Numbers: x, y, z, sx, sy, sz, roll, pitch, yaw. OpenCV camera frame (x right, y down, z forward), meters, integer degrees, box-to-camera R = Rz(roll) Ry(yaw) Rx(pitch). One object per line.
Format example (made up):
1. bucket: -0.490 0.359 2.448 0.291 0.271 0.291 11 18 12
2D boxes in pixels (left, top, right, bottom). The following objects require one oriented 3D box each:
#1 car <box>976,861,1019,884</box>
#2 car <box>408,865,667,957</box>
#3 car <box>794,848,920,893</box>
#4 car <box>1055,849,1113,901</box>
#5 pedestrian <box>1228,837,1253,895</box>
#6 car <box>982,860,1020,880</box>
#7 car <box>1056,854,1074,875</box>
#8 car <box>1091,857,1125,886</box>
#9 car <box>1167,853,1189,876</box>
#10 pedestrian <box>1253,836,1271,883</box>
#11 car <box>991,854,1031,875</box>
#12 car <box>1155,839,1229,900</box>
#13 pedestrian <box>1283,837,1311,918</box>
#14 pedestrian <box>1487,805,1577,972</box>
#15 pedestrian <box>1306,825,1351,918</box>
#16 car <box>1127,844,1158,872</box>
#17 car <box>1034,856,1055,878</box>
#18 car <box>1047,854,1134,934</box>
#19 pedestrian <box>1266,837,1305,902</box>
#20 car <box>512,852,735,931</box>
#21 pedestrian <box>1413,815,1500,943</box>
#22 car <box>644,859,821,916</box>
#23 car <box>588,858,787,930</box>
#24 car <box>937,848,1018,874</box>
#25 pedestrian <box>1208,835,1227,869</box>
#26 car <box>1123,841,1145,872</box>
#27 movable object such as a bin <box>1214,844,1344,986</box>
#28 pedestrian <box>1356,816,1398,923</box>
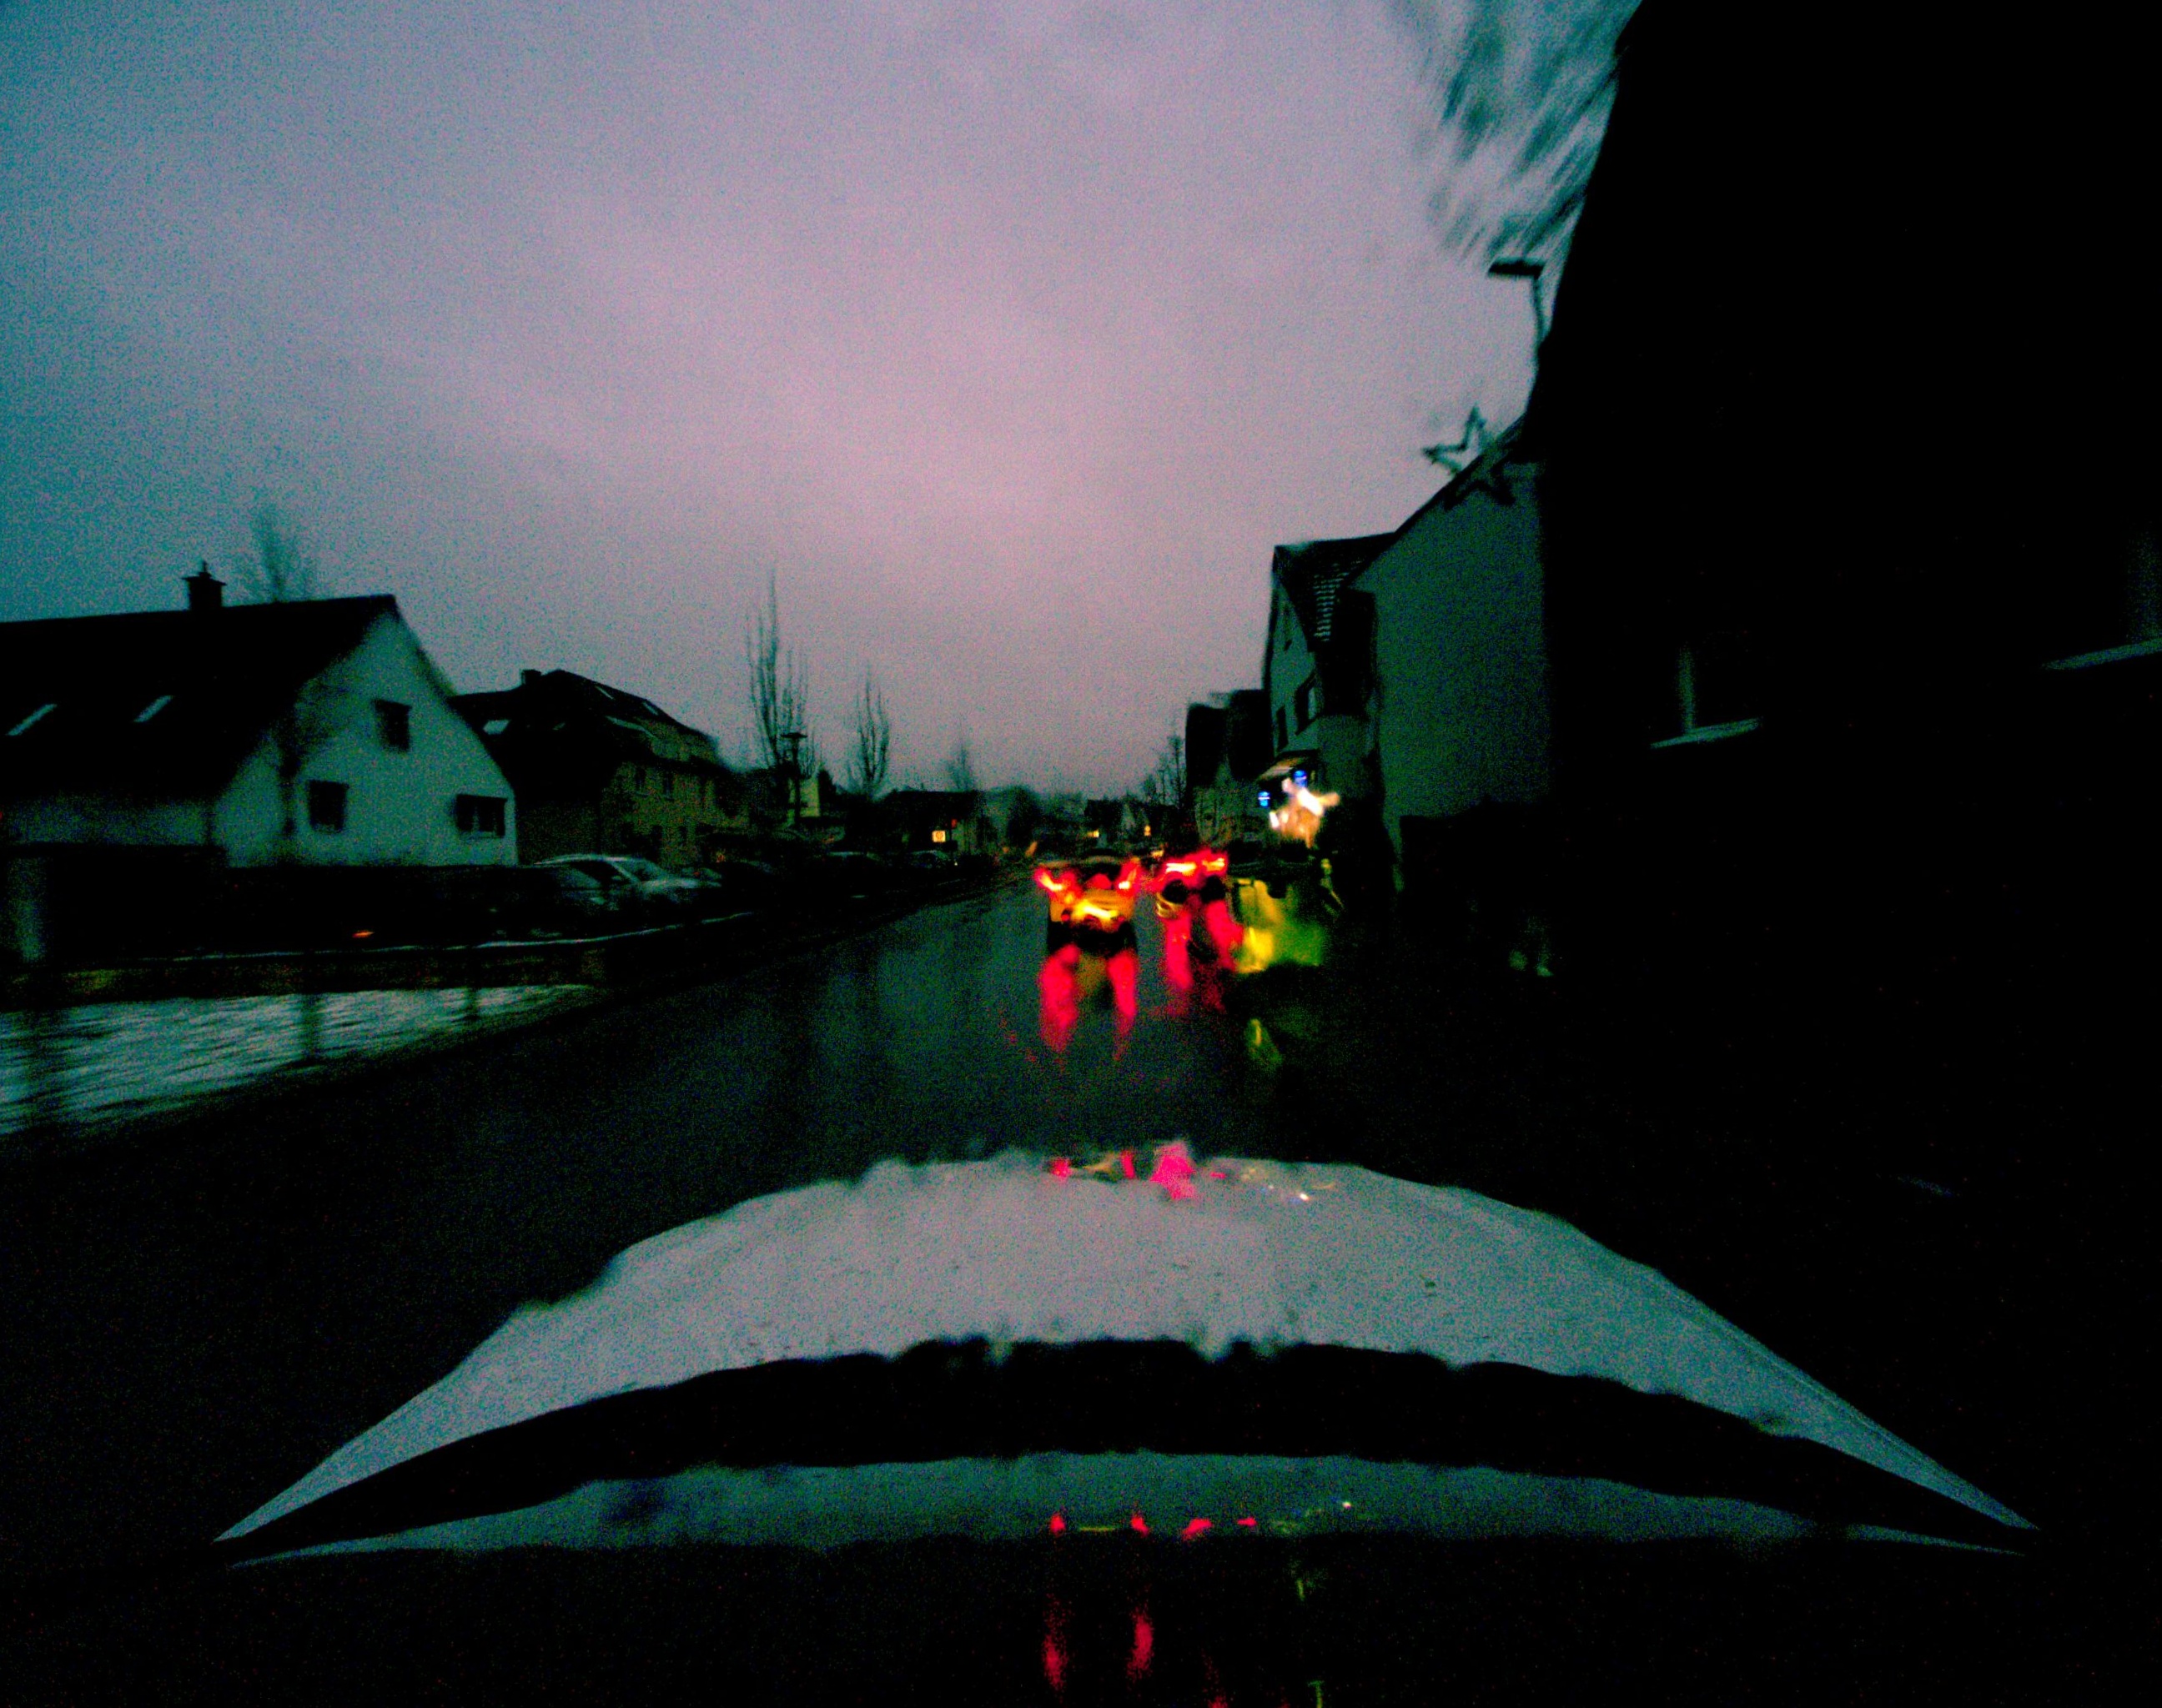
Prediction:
1. car: -8.437 1.922 82.004 2.011 2.252 4.331 2 -3 -45
2. car: -9.489 0.967 14.406 3.433 1.372 1.601 -2 0 0
3. car: -9.120 0.667 33.475 4.612 1.667 1.999 -1 -1 -1
4. car: 0.173 0.663 27.808 1.759 1.628 3.589 -1 0 3
5. pedestrian: 4.878 0.365 24.907 0.571 1.699 0.653 -4 -1 3
6. car: -8.362 1.661 84.889 1.833 1.976 4.117 2 -3 -45
7. car: -1.695 1.189 88.572 1.914 2.216 3.973 0 -2 0
8. car: 1.294 0.820 39.318 1.535 1.331 3.312 -1 0 1
9. car: 9.762 1.072 82.428 1.985 2.249 4.002 -1 -2 3
10. pedestrian: 6.860 0.214 30.803 0.614 1.727 0.503 -1 -3 13
11. car: -7.594 1.169 87.619 2.011 2.167 4.331 2 -3 -45
12. car: 3.398 0.463 25.704 1.729 1.692 4.386 -2 0 1
13. pedestrian: 4.567 0.474 17.209 0.476 1.630 1.023 -3 0 15
14. pedestrian: 4.724 0.358 8.591 0.525 1.653 0.956 -1 -3 11
15. pedestrian: 4.788 0.322 15.789 0.707 1.715 1.038 -3 0 15
16. car: 4.321 0.306 57.571 1.990 1.865 4.084 -1 -1 2
17. car: -3.594 1.300 80.621 1.914 2.028 3.973 0 -2 0
18. car: 0.209 0.723 16.157 1.557 1.412 3.018 -1 0 1
19. pedestrian: 5.329 0.388 21.255 0.618 1.626 0.903 -2 1 -12
20. car: -9.537 0.772 17.114 3.772 1.523 1.718 -1 -1 8
21. pedestrian: 5.241 0.330 11.424 0.743 1.678 1.054 -3 0 7
22. car: -9.664 0.941 22.793 4.109 1.498 1.881 -1 -2 3
23. car: -9.509 0.955 19.829 4.074 1.608 1.589 -1 -1 4
24. car: -7.210 0.476 56.840 5.357 1.817 1.718 0 0 14
25. pedestrian: 6.270 -0.108 37.534 0.618 1.515 0.731 -2 1 -12
26. car: 4.537 0.263 70.070 1.862 2.469 4.446 -1 -2 3
27. movable object such as a bin: 2.229 0.648 9.411 1.124 1.420 1.419 -5 0 3
28. pedestrian: 5.135 0.263 14.156 0.525 1.800 0.867 -1 0 11
